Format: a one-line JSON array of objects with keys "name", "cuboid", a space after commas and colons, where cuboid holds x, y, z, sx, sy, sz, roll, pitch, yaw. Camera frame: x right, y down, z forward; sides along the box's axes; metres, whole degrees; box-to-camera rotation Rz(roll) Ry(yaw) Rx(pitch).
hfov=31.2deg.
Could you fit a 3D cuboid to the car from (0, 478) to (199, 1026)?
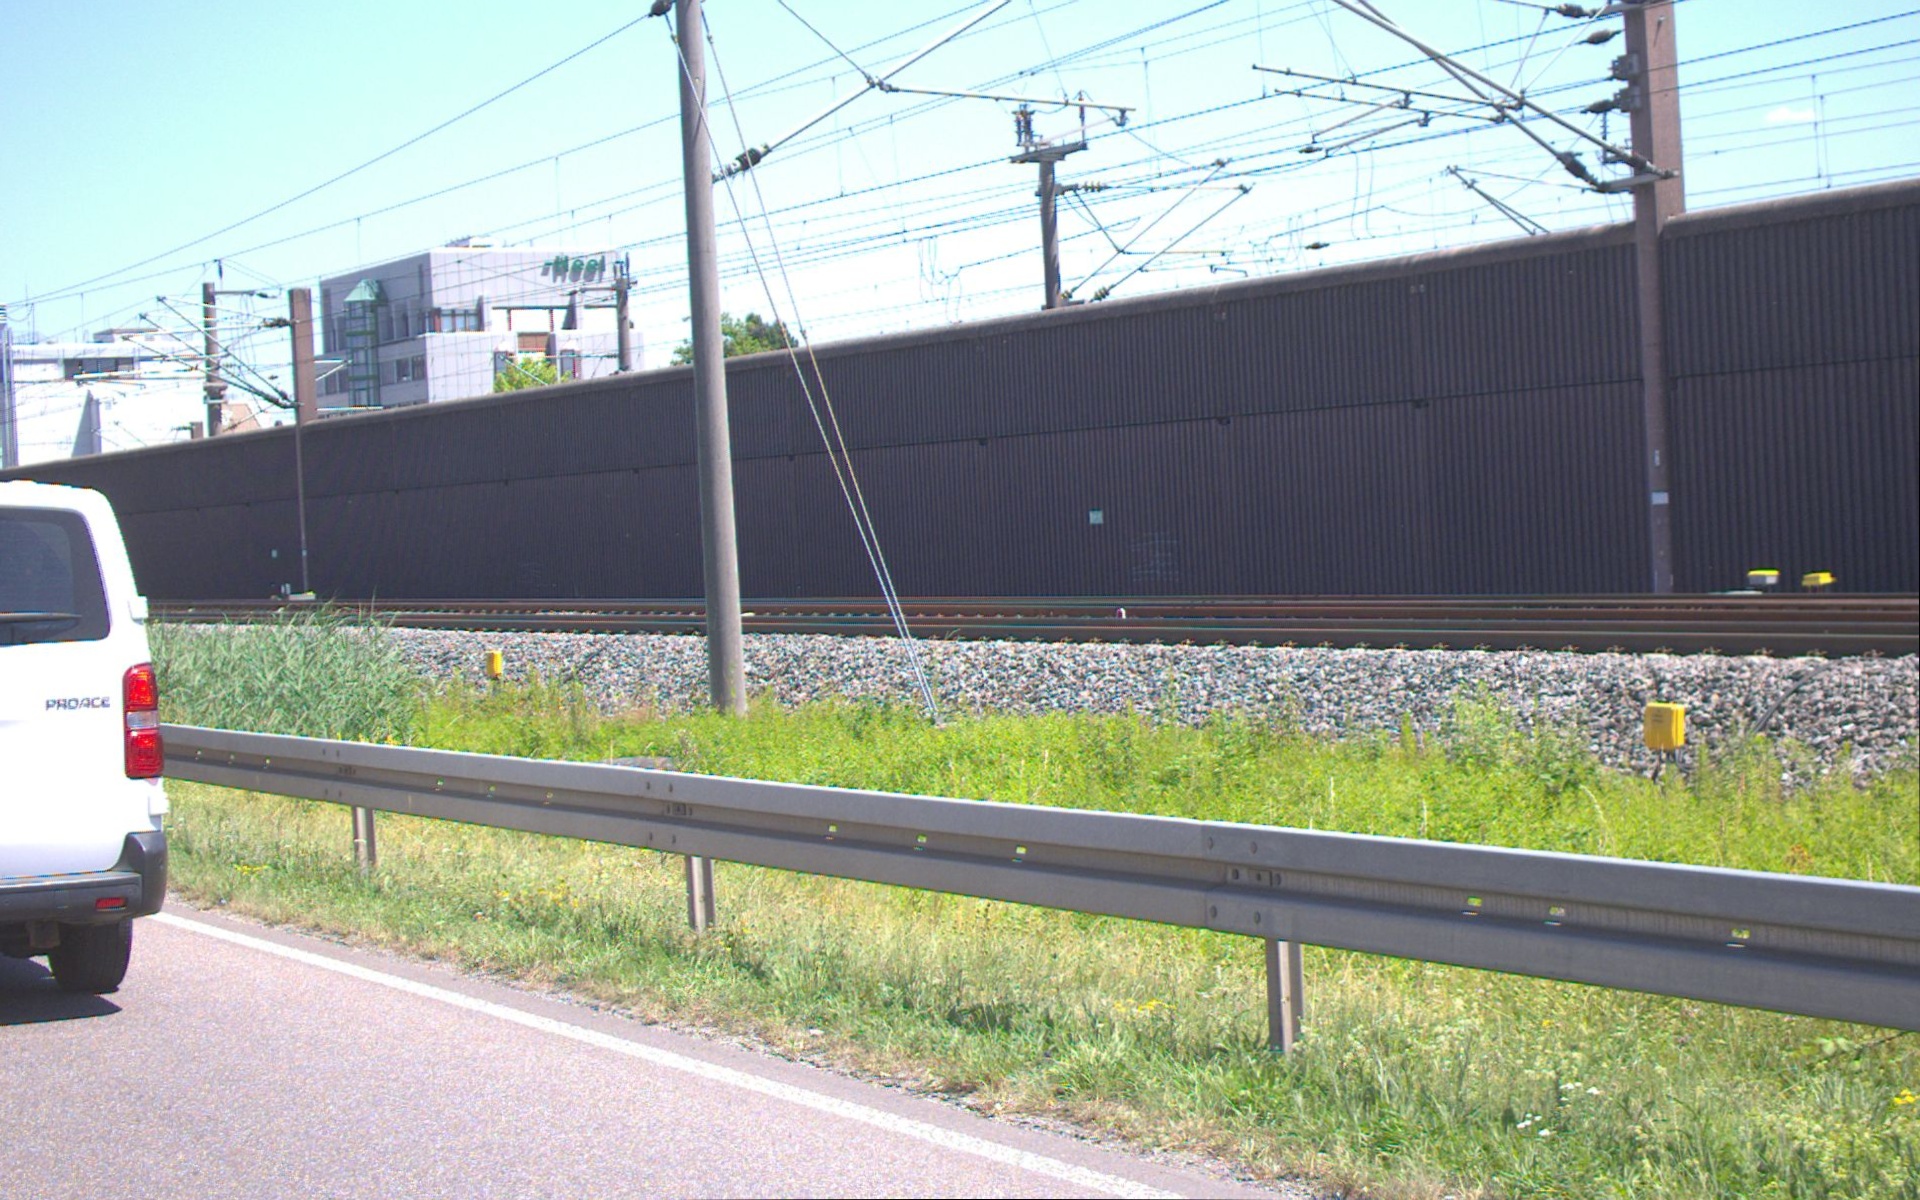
[{"name": "car", "cuboid": [-4.682, 0.551, 13.790, 1.945, 1.875, 4.881, -1, 0, -28]}]
